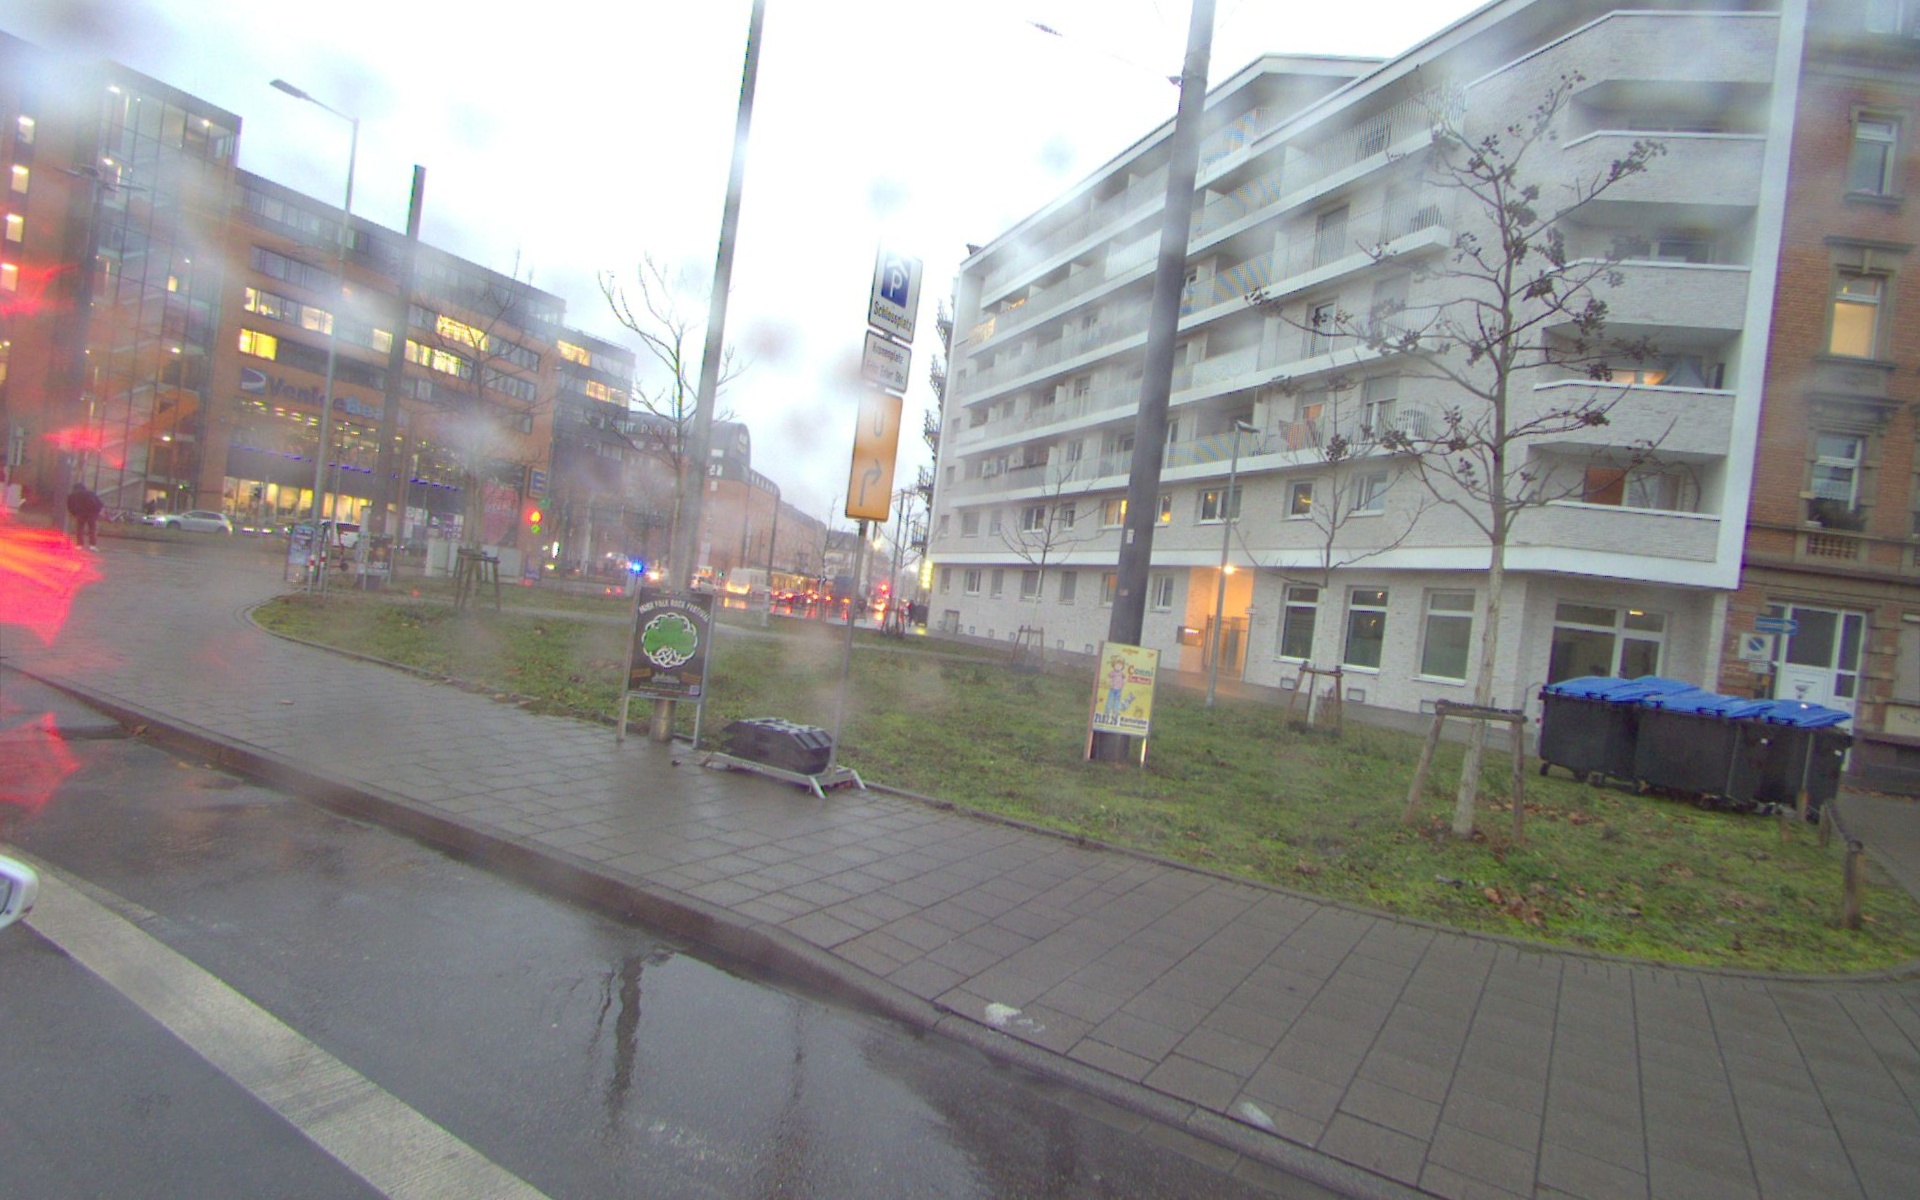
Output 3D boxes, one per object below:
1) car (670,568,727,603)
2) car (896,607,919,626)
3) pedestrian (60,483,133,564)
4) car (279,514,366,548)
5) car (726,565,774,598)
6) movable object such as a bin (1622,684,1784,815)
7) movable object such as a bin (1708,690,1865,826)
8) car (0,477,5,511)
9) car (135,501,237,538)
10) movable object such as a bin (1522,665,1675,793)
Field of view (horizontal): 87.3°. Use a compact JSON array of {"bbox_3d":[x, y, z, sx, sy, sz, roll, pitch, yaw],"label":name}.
[{"bbox_3d":[-19.874,-1.061,76.656,1.963,2.036,4.003,8,-2,22],"label":"car"},{"bbox_3d":[-5.764,1.812,110.767,1.662,1.636,3.470,8,-2,10],"label":"car"},{"bbox_3d":[-23.100,-2.025,26.930,1.164,1.946,0.890,10,-2,-35],"label":"pedestrian"},{"bbox_3d":[-41.289,-4.449,65.242,1.767,1.553,4.444,7,-1,25],"label":"car"},{"bbox_3d":[-17.497,-1.534,84.137,1.962,2.036,4.957,8,-2,11],"label":"car"},{"bbox_3d":[9.583,1.909,13.015,1.003,1.434,1.218,6,1,-21],"label":"movable object such as a bin"},{"bbox_3d":[10.701,2.025,13.064,1.021,1.507,1.039,9,-2,-12],"label":"movable object such as a bin"},{"bbox_3d":[-48.479,-5.405,47.556,1.767,1.614,4.431,7,-1,25],"label":"car"},{"bbox_3d":[-44.423,-4.615,57.843,1.767,1.406,4.227,7,-1,25],"label":"car"},{"bbox_3d":[8.993,1.797,14.220,1.017,1.514,1.322,7,1,-21],"label":"movable object such as a bin"}]
